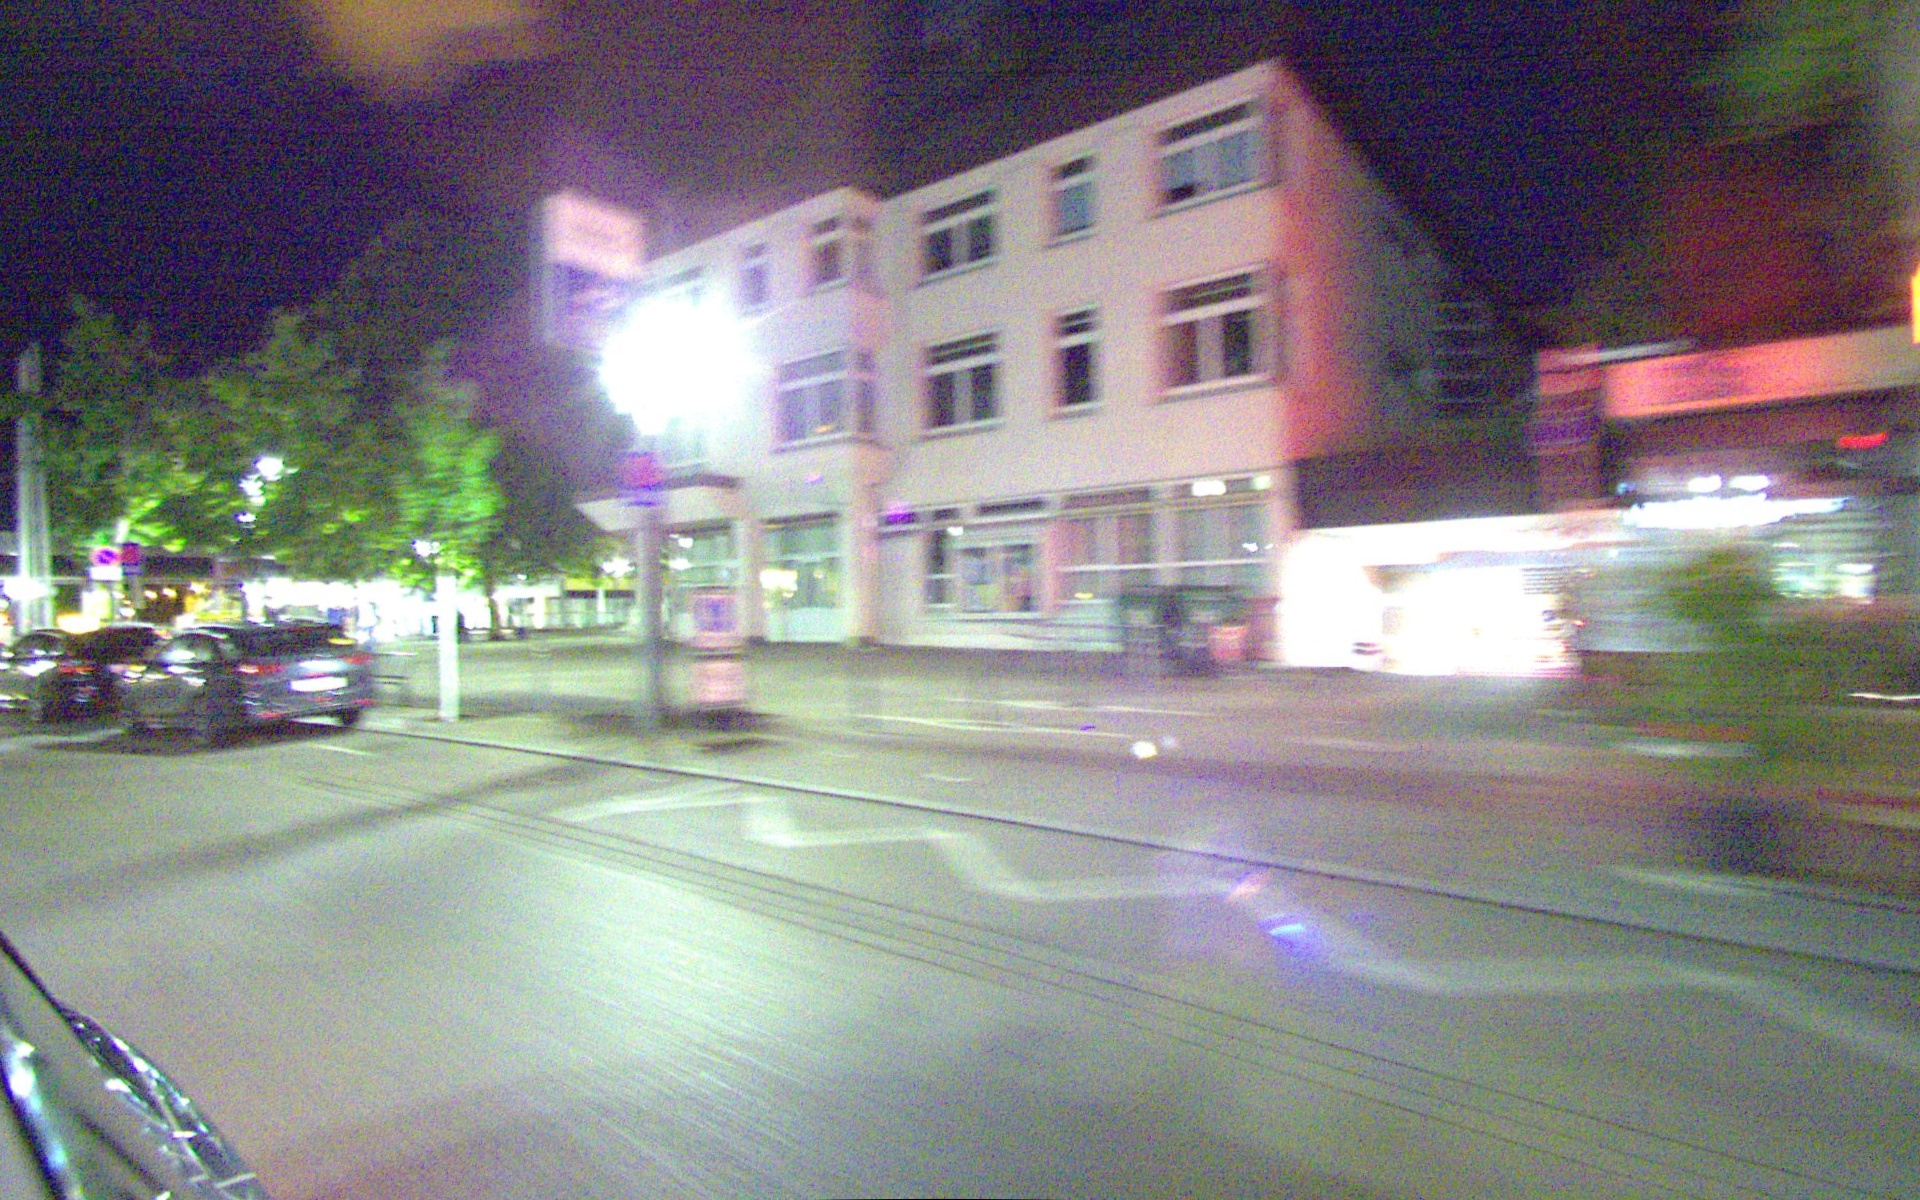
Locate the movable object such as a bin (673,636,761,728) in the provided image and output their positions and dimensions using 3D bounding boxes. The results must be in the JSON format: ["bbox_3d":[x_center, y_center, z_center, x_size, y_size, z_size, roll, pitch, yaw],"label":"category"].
[{"bbox_3d":[-3.032,1.000,12.624,0.790,1.073,0.740,0,0,35],"label":"movable object such as a bin"}]

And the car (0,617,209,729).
[{"bbox_3d":[-14.481,1.115,16.611,4.767,1.553,1.890,-1,0,33],"label":"car"}]

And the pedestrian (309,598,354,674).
[{"bbox_3d":[-15.852,0.896,25.544,0.866,1.845,0.793,-2,1,-29],"label":"pedestrian"}]

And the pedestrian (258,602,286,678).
[{"bbox_3d":[-16.775,0.957,24.673,0.494,1.835,0.505,0,0,-27],"label":"pedestrian"}]

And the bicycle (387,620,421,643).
[{"bbox_3d":[-34.265,1.937,62.386,2.504,1.374,0.767,0,0,34],"label":"bicycle"}]

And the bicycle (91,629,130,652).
[{"bbox_3d":[-42.298,1.998,50.396,2.476,1.095,0.852,0,0,34],"label":"bicycle"}]

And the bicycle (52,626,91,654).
[{"bbox_3d":[-43.155,1.930,49.140,2.460,1.264,0.852,0,0,34],"label":"bicycle"}]

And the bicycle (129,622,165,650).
[{"bbox_3d":[-41.491,1.837,51.624,2.407,1.374,0.756,0,0,34],"label":"bicycle"}]

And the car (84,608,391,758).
[{"bbox_3d":[-9.571,0.975,13.268,4.802,1.650,1.744,-2,-1,34],"label":"car"}]

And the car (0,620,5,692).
[{"bbox_3d":[-23.431,1.279,23.003,4.475,1.586,1.755,-1,1,37],"label":"car"}]

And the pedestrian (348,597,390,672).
[{"bbox_3d":[-14.965,0.859,25.616,0.781,1.831,1.026,-2,1,-35],"label":"pedestrian"}]

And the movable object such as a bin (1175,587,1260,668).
[{"bbox_3d":[4.895,0.497,19.203,1.226,1.468,1.121,0,1,37],"label":"movable object such as a bin"}]

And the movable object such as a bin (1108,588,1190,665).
[{"bbox_3d":[3.751,0.509,20.117,1.284,1.455,1.027,0,1,37],"label":"movable object such as a bin"}]
